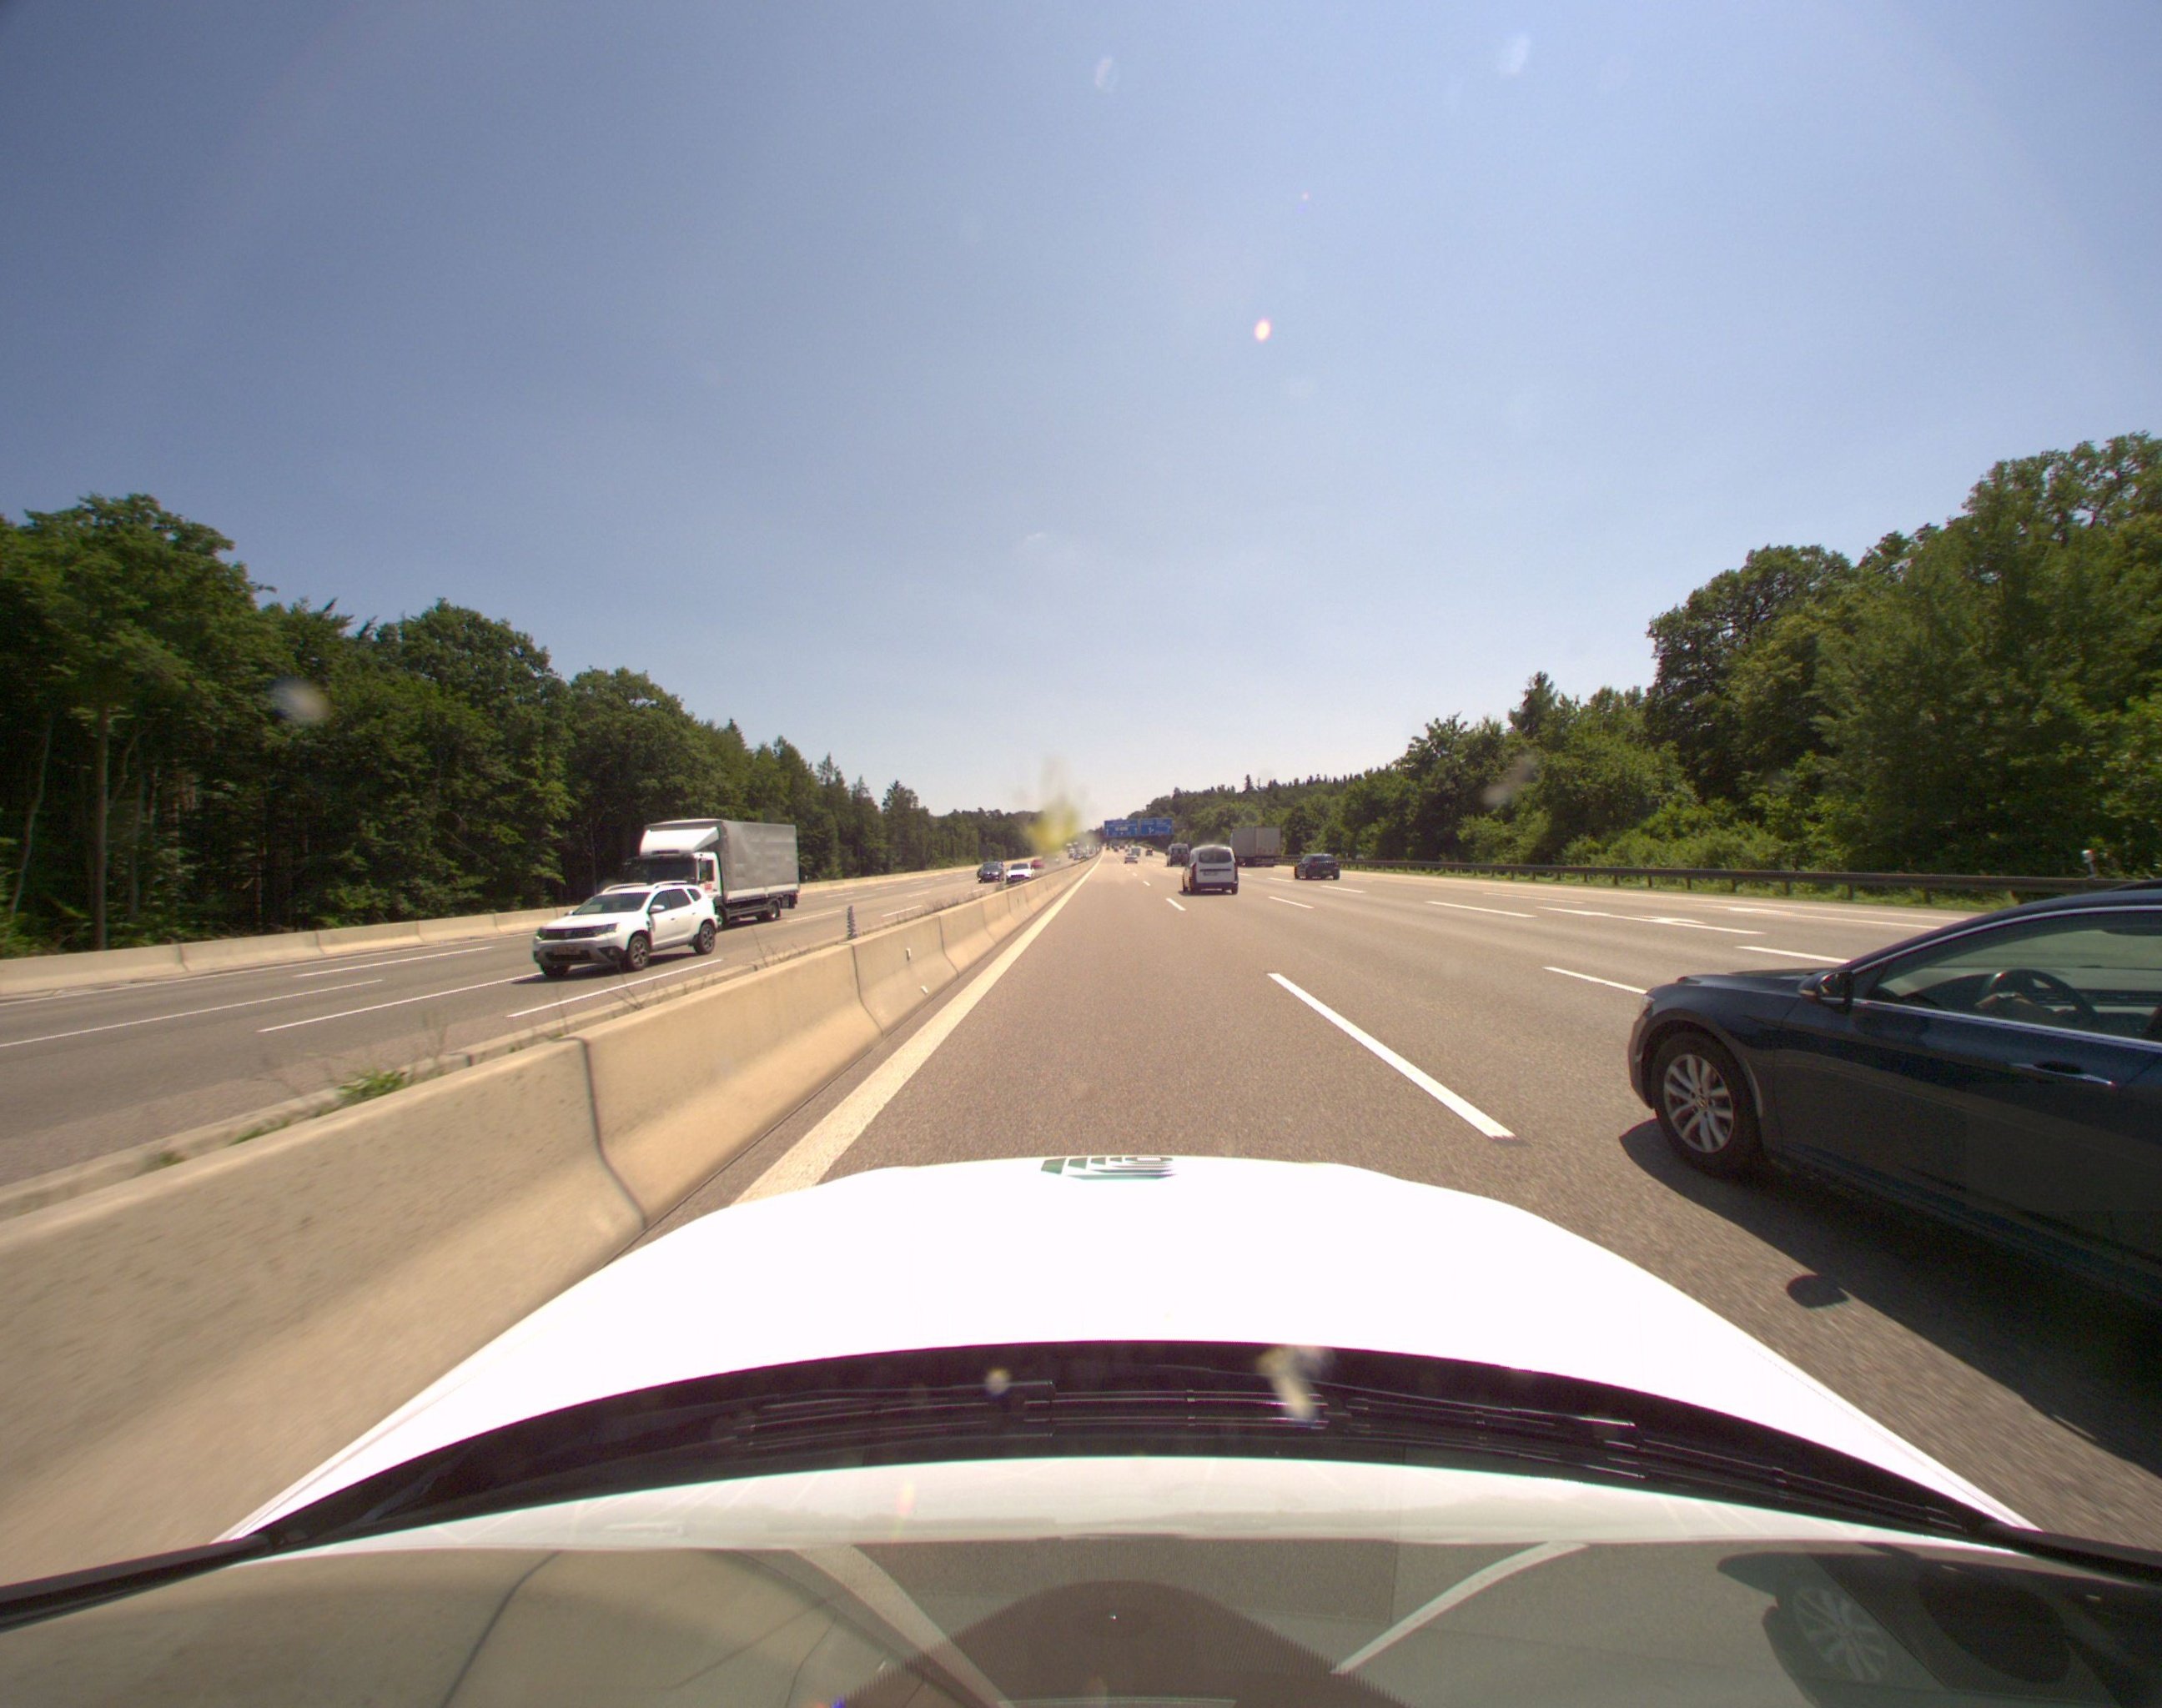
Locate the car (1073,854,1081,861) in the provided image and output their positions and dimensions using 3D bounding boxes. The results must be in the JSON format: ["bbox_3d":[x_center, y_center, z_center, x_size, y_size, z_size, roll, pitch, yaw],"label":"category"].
[{"bbox_3d":[-0.898,0.877,191.403,1.711,1.512,4.353,-3,0,2],"label":"car"}]

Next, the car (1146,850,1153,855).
[{"bbox_3d":[18.495,-0.387,220.324,1.829,1.338,3.644,-3,-1,2],"label":"car"}]

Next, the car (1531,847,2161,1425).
[{"bbox_3d":[3.635,0.715,2.686,1.723,1.447,4.964,-1,0,3],"label":"car"}]

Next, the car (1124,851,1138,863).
[{"bbox_3d":[7.338,0.476,119.552,1.836,1.629,4.556,-3,-1,2],"label":"car"}]

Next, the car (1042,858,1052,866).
[{"bbox_3d":[-7.790,1.724,185.331,1.964,1.724,4.508,1,0,0],"label":"car"}]

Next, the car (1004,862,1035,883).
[{"bbox_3d":[-4.441,1.317,58.955,1.818,1.394,4.464,-3,0,0],"label":"car"}]

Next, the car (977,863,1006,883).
[{"bbox_3d":[-7.236,1.534,66.415,1.696,1.427,4.615,-3,0,1],"label":"car"}]

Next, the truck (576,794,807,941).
[{"bbox_3d":[-12.579,0.408,27.685,2.847,4.013,9.472,-3,0,2],"label":"truck"}]

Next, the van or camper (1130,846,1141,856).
[{"bbox_3d":[14.515,-0.685,218.274,2.635,2.539,6.505,-3,0,2],"label":"van or camper"}]

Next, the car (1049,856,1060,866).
[{"bbox_3d":[-4.860,1.251,149.581,1.964,1.724,4.508,1,0,0],"label":"car"}]

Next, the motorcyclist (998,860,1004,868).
[{"bbox_3d":[-13.073,1.627,133.375,0.757,1.301,1.078,-3,0,2],"label":"motorcyclist"}]

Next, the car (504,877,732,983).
[{"bbox_3d":[-9.354,1.436,17.023,1.906,1.661,4.691,-3,0,2],"label":"car"}]

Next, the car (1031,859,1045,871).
[{"bbox_3d":[-6.252,1.576,118.115,1.566,1.511,4.032,-3,0,2],"label":"car"}]

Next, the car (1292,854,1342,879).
[{"bbox_3d":[12.986,0.714,45.028,1.664,1.274,4.291,-1,-1,2],"label":"car"}]

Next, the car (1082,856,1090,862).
[{"bbox_3d":[1.187,1.301,205.049,1.746,1.377,4.493,-4,0,2],"label":"car"}]

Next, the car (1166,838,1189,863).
[{"bbox_3d":[10.844,-0.372,91.923,2.135,2.652,5.712,-2,0,2],"label":"car"}]

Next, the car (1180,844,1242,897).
[{"bbox_3d":[5.044,0.614,32.163,1.852,1.826,4.615,-3,0,2],"label":"car"}]

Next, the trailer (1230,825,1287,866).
[{"bbox_3d":[18.410,-0.934,85.484,3.275,3.930,13.895,-1,1,1],"label":"trailer"}]

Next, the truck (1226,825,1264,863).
[{"bbox_3d":[18.541,-1.084,92.240,3.242,4.106,5.990,-1,1,2],"label":"truck"}]

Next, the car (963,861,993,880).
[{"bbox_3d":[-10.152,1.570,80.672,2.039,1.674,5.191,-3,0,2],"label":"car"}]
